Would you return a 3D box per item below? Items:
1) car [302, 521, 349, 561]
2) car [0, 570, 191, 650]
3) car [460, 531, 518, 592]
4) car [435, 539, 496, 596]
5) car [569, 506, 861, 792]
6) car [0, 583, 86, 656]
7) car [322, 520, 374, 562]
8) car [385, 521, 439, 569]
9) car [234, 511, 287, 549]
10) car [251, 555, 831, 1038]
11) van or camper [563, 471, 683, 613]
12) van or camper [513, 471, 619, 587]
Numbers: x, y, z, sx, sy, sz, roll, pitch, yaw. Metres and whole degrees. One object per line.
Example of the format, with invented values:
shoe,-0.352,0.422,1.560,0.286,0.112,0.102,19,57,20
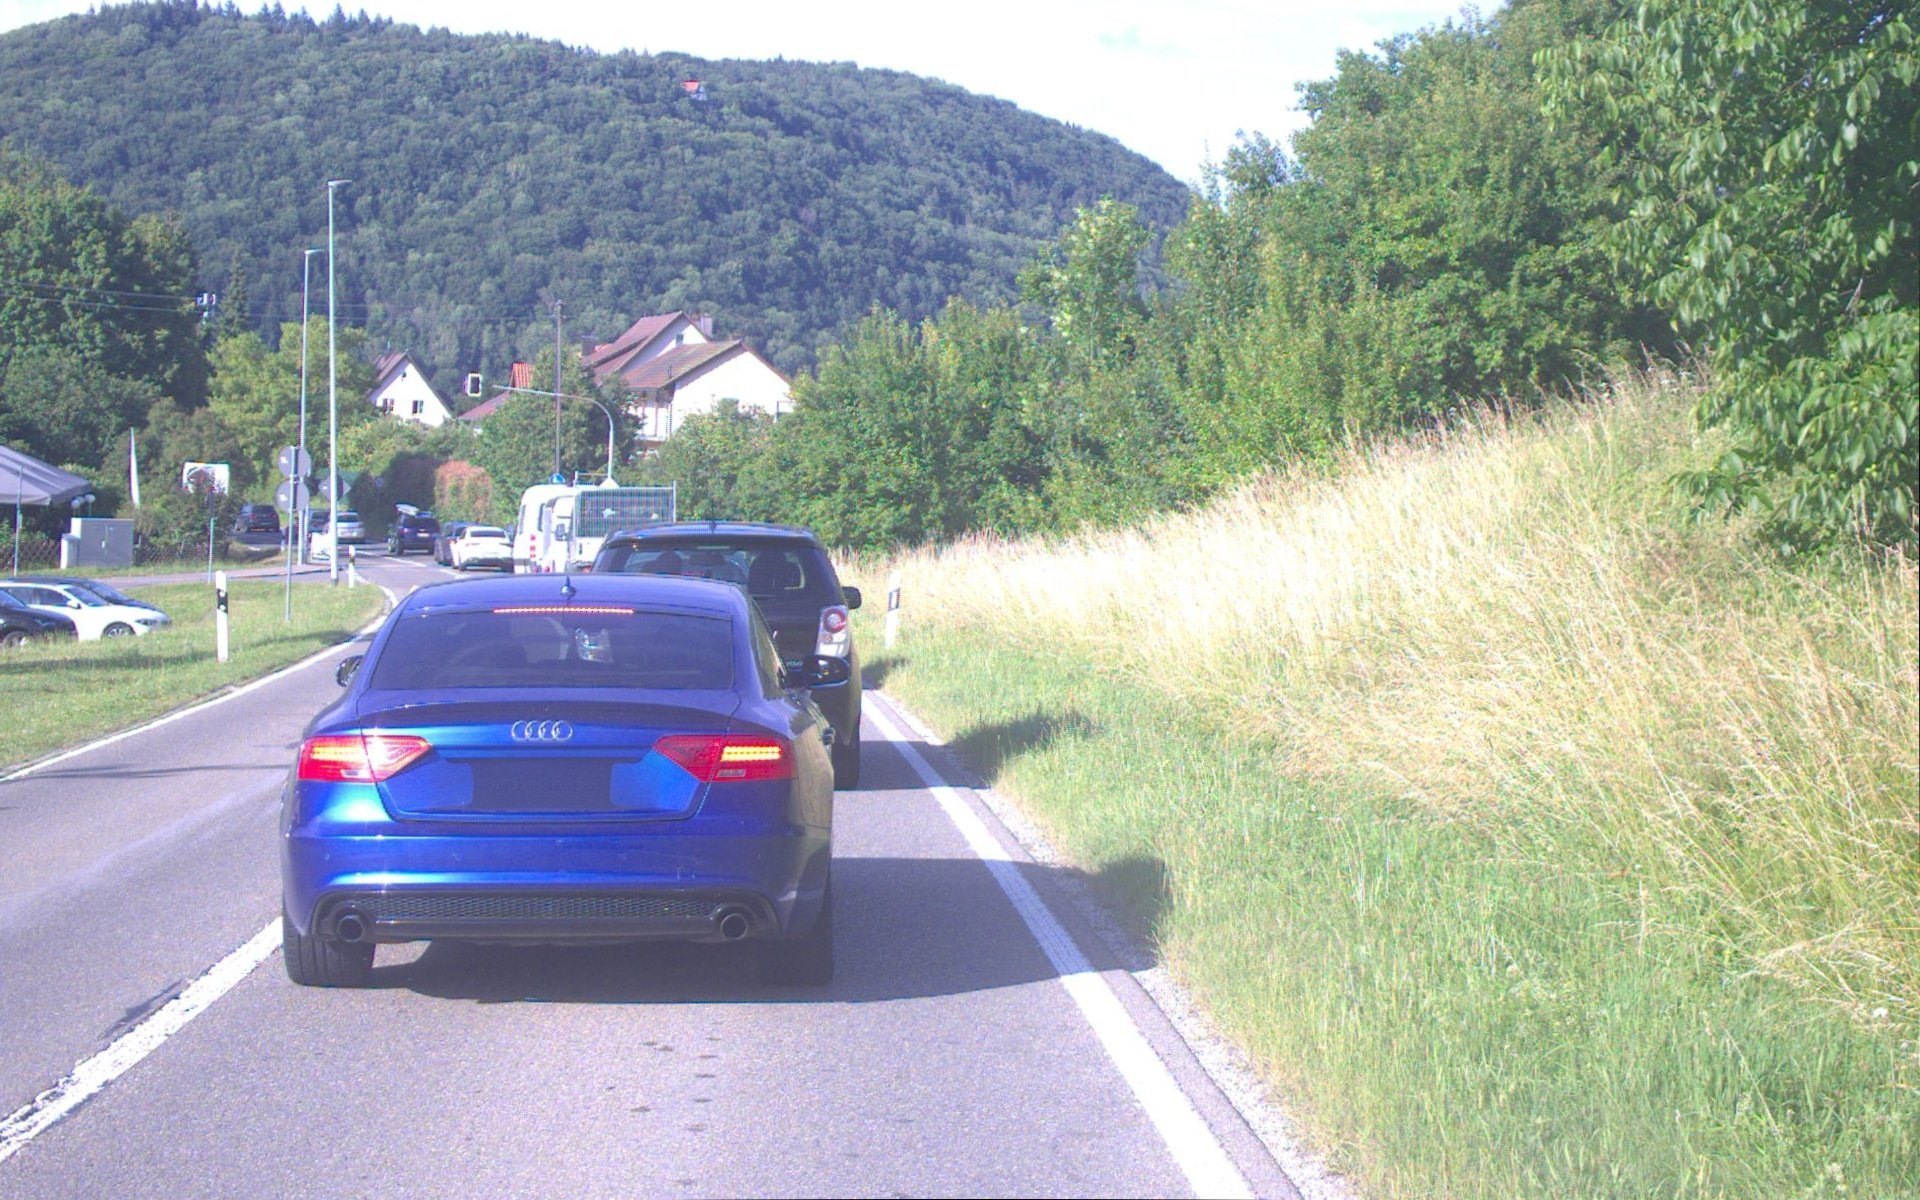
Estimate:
car,-30.838,-2.865,166.987,1.676,1.918,4.001,-1,1,-18
car,-18.926,0.220,74.557,4.036,1.655,1.655,-1,1,8
car,-15.230,-1.252,111.060,1.659,1.918,4.001,-1,1,-10
car,-17.048,-1.135,118.433,1.659,1.918,4.001,-1,1,-14
car,-1.574,0.258,21.712,1.645,1.619,3.517,2,1,-5
car,-19.940,0.406,70.279,3.713,1.434,1.509,-1,1,8
car,-28.143,-2.699,157.999,1.676,1.918,4.001,-1,1,-19
car,-22.325,-2.213,139.962,1.676,1.918,4.001,-1,1,-16
car,-36.872,-3.660,181.152,1.954,1.918,4.001,-1,1,-23
car,-1.350,0.577,12.272,1.742,1.445,3.517,-1,1,-2
van or camper,-6.297,-1.061,63.799,2.051,2.497,5.813,-1,1,-7
van or camper,-9.579,-1.691,83.236,2.280,2.704,5.769,-1,1,-9
